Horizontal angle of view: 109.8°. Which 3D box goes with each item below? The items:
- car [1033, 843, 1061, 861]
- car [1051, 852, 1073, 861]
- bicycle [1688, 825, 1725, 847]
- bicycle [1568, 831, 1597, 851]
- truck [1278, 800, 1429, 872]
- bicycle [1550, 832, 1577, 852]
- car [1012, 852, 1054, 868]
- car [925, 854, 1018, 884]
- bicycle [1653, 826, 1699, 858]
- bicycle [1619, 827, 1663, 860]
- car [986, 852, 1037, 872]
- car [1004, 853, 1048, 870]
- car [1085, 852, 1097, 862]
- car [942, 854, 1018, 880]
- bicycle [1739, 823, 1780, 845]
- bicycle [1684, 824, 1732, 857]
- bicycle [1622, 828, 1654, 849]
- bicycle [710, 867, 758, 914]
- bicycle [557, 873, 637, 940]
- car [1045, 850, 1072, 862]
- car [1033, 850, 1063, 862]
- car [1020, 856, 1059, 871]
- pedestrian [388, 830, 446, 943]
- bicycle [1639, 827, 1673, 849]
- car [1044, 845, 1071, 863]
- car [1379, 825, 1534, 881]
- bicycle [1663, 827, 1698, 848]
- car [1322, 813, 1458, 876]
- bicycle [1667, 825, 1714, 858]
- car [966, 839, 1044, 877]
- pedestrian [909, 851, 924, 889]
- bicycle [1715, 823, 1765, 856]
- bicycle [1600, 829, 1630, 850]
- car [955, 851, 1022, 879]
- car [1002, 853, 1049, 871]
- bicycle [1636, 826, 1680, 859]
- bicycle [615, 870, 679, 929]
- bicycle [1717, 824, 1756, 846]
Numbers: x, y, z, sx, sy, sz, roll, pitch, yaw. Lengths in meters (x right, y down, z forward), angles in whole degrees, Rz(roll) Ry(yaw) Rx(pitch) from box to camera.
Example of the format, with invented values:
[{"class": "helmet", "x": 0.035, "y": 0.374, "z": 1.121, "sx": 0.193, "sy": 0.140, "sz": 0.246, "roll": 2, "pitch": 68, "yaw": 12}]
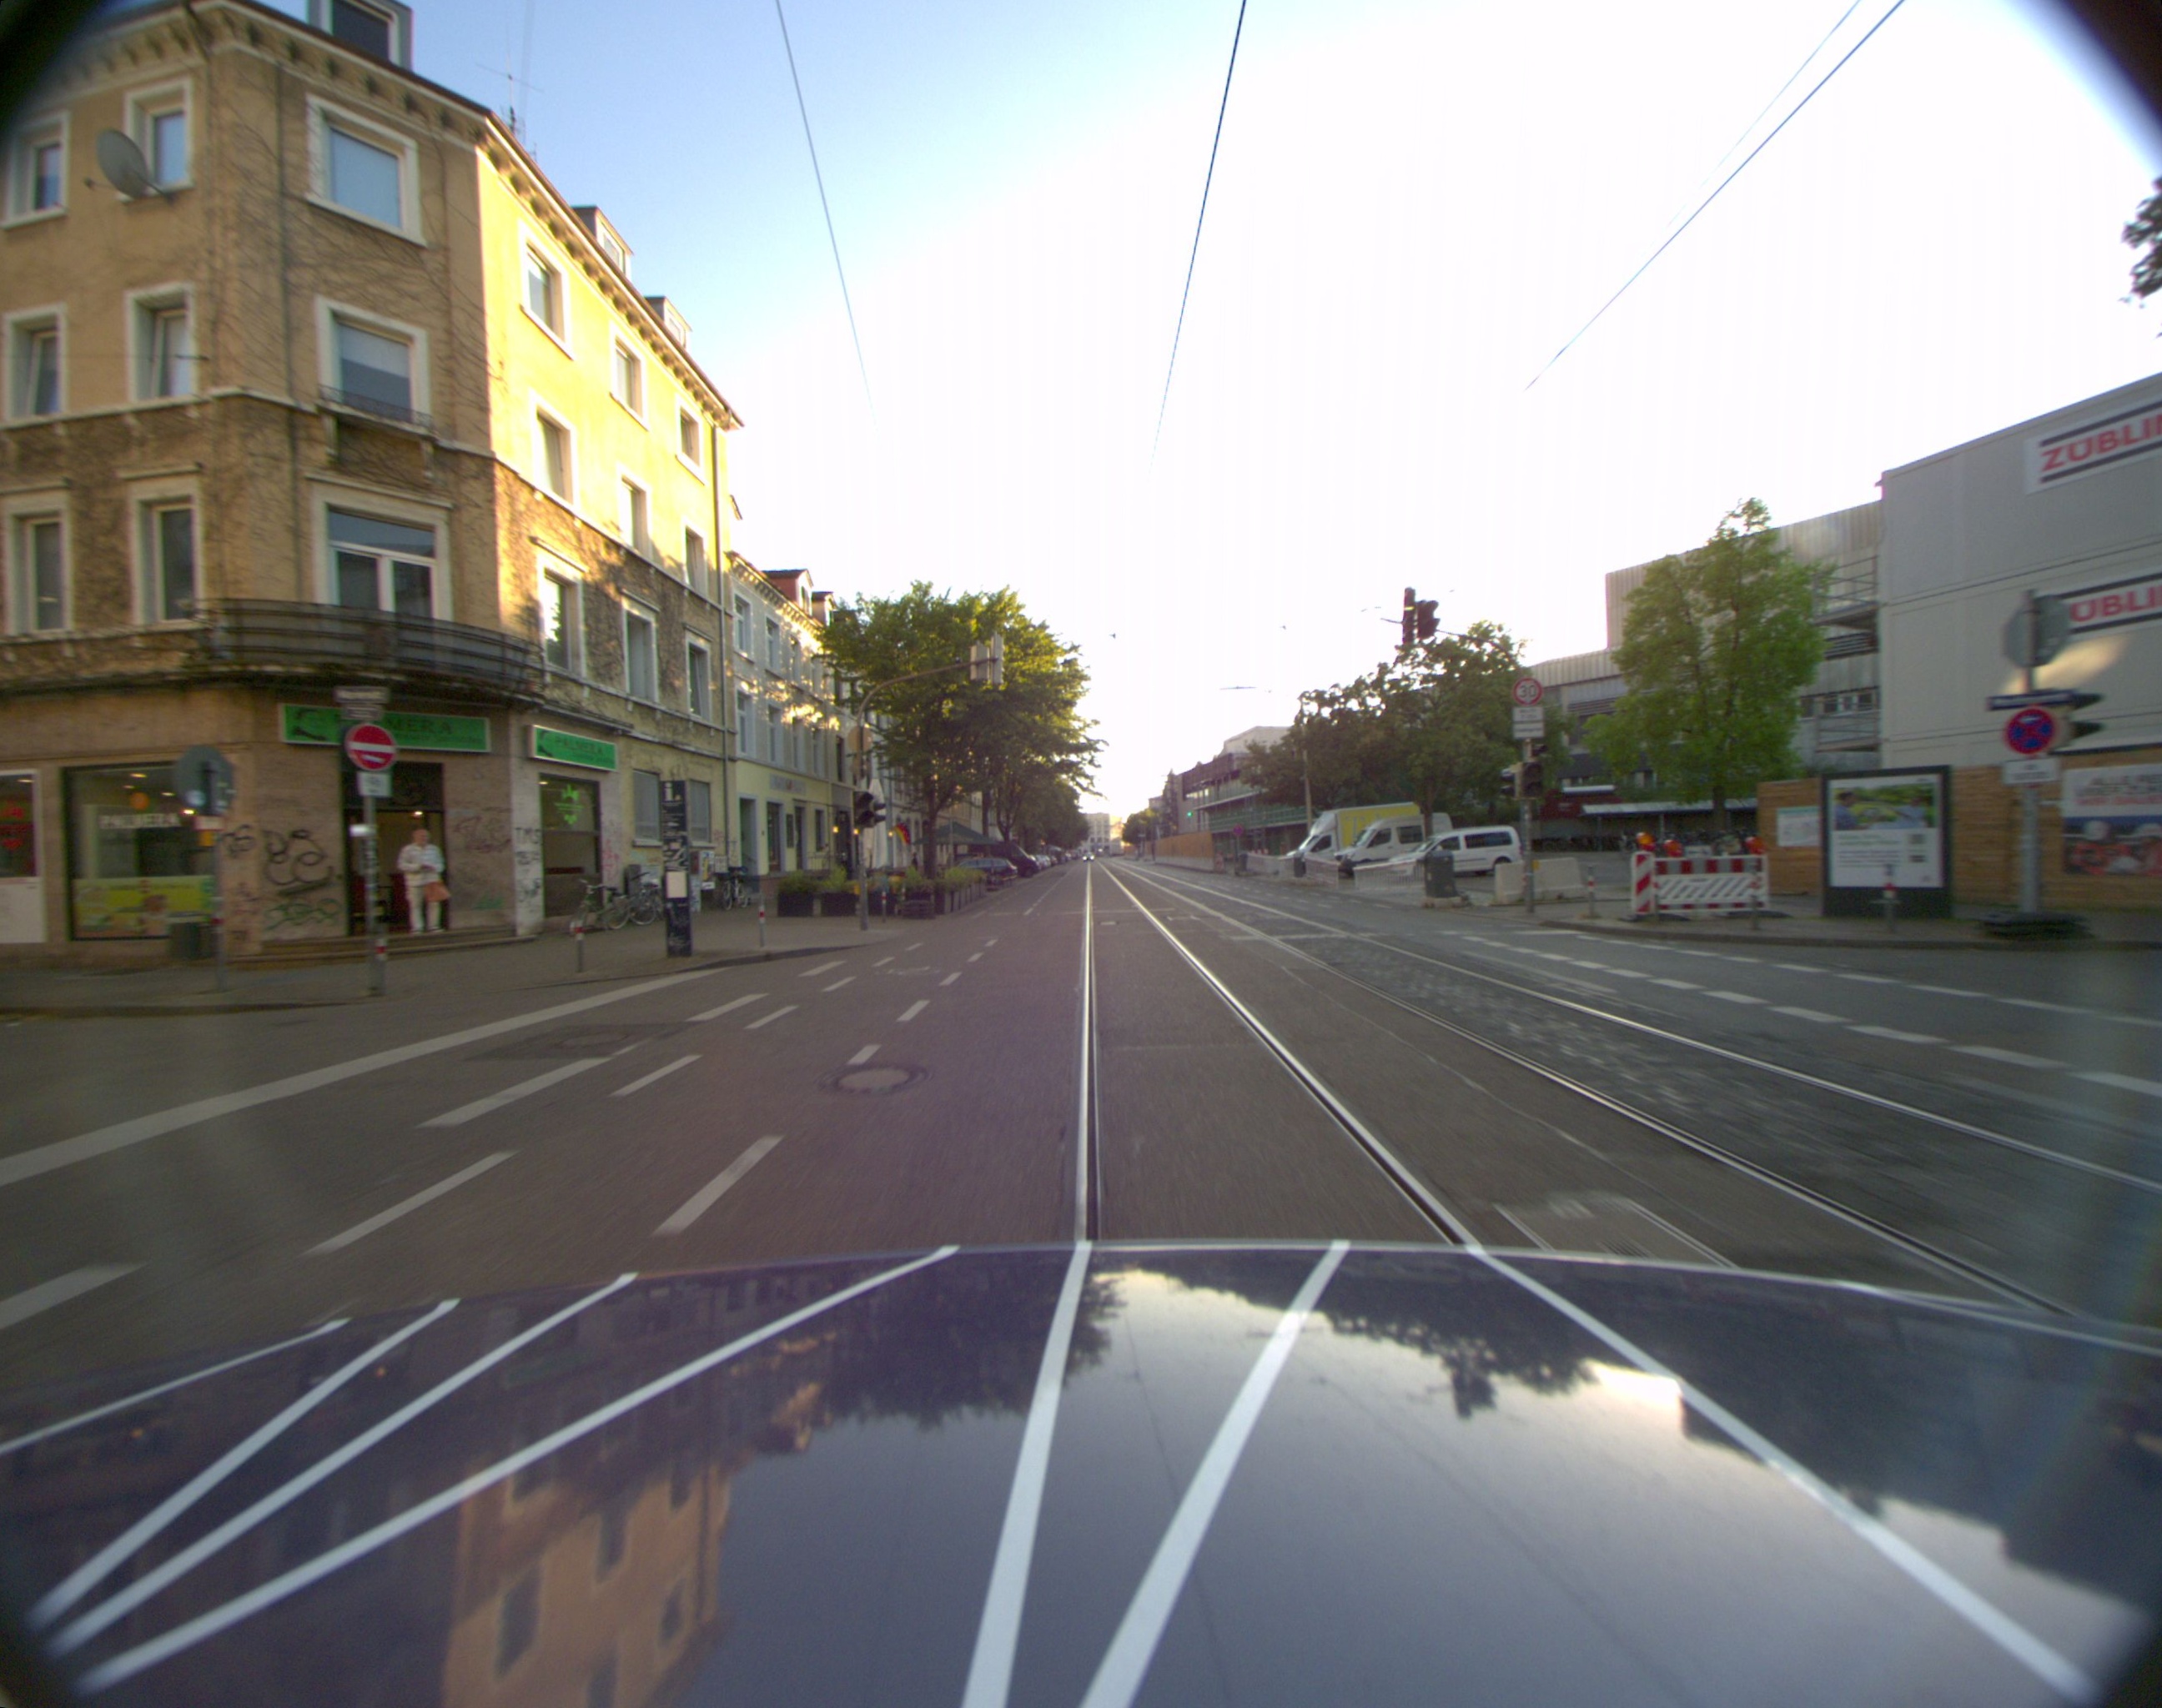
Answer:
[{"class": "car", "x": -5.090, "y": -0.280, "z": 114.518, "sx": 3.991, "sy": 2.551, "sz": 1.722, "roll": 0, "pitch": 0, "yaw": 1}, {"class": "car", "x": -3.503, "y": 0.536, "z": 143.190, "sx": 3.991, "sy": 1.681, "sz": 1.722, "roll": 0, "pitch": 0, "yaw": 1}, {"class": "bicycle", "x": 35.694, "y": -1.006, "z": 43.417, "sx": 0.811, "sy": 1.175, "sz": 2.267, "roll": -2, "pitch": 0, "yaw": 17}, {"class": "bicycle", "x": 30.292, "y": -0.773, "z": 45.908, "sx": 0.811, "sy": 1.175, "sz": 2.267, "roll": -2, "pitch": 0, "yaw": 17}, {"class": "truck", "x": 14.466, "y": -0.941, "z": 40.639, "sx": 7.077, "sy": 3.408, "sz": 2.565, "roll": -3, "pitch": 0, "yaw": -2}, {"class": "bicycle", "x": 29.471, "y": -0.729, "z": 46.441, "sx": 0.811, "sy": 1.175, "sz": 2.267, "roll": -2, "pitch": 0, "yaw": 17}, {"class": "car", "x": -4.795, "y": 0.586, "z": 75.905, "sx": 3.997, "sy": 1.566, "sz": 1.720, "roll": 0, "pitch": -1, "yaw": -14}, {"class": "car", "x": -5.929, "y": 0.794, "z": 41.056, "sx": 4.643, "sy": 1.508, "sz": 1.807, "roll": 0, "pitch": -1, "yaw": -26}, {"class": "bicycle", "x": 25.795, "y": -0.509, "z": 32.991, "sx": 0.542, "sy": 1.361, "sz": 1.978, "roll": -2, "pitch": 0, "yaw": 5}, {"class": "bicycle", "x": 24.398, "y": -0.451, "z": 33.139, "sx": 0.542, "sy": 1.361, "sz": 1.978, "roll": -2, "pitch": 0, "yaw": 5}, {"class": "car", "x": -5.739, "y": 0.633, "z": 63.023, "sx": 3.991, "sy": 1.589, "sz": 1.722, "roll": -1, "pitch": 0, "yaw": 2}, {"class": "car", "x": -5.242, "y": 0.714, "z": 72.218, "sx": 3.996, "sy": 1.566, "sz": 1.720, "roll": 0, "pitch": -1, "yaw": -11}, {"class": "car", "x": 1.815, "y": 0.540, "z": 136.598, "sx": 1.998, "sy": 1.674, "sz": 4.000, "roll": -3, "pitch": 0, "yaw": 1}, {"class": "car", "x": -5.841, "y": 0.743, "z": 43.819, "sx": 4.121, "sy": 1.444, "sz": 1.808, "roll": 0, "pitch": -1, "yaw": -15}, {"class": "bicycle", "x": 37.897, "y": -1.094, "z": 42.463, "sx": 0.811, "sy": 1.175, "sz": 2.267, "roll": -2, "pitch": 0, "yaw": 17}, {"class": "bicycle", "x": 27.087, "y": -0.569, "z": 32.865, "sx": 0.542, "sy": 1.361, "sz": 1.978, "roll": -2, "pitch": 0, "yaw": 5}, {"class": "bicycle", "x": 32.851, "y": -0.898, "z": 44.823, "sx": 0.811, "sy": 1.175, "sz": 2.267, "roll": -2, "pitch": 0, "yaw": 17}, {"class": "bicycle", "x": -9.777, "y": 1.004, "z": 21.458, "sx": 0.471, "sy": 1.203, "sz": 1.783, "roll": -2, "pitch": 0, "yaw": 1}, {"class": "bicycle", "x": -9.611, "y": 1.007, "z": 15.152, "sx": 0.525, "sy": 1.203, "sz": 1.586, "roll": -2, "pitch": 0, "yaw": 1}, {"class": "car", "x": -3.521, "y": 0.316, "z": 117.877, "sx": 3.997, "sy": 1.952, "sz": 1.720, "roll": 0, "pitch": 0, "yaw": -14}, {"class": "car", "x": -4.732, "y": 0.279, "z": 108.328, "sx": 3.997, "sy": 1.759, "sz": 1.720, "roll": 0, "pitch": 0, "yaw": -14}, {"class": "car", "x": -4.561, "y": 1.004, "z": 82.705, "sx": 3.997, "sy": 1.566, "sz": 1.720, "roll": 0, "pitch": -1, "yaw": -14}, {"class": "pedestrian", "x": -11.082, "y": 0.537, "z": 12.679, "sx": 0.559, "sy": 1.821, "sz": 0.613, "roll": -1, "pitch": -2, "yaw": 38}, {"class": "bicycle", "x": 33.721, "y": -0.931, "z": 44.587, "sx": 0.811, "sy": 1.175, "sz": 2.267, "roll": -2, "pitch": 0, "yaw": 17}, {"class": "car", "x": -3.795, "y": -0.019, "z": 120.565, "sx": 3.997, "sy": 2.811, "sz": 1.720, "roll": 0, "pitch": 0, "yaw": -14}, {"class": "car", "x": 14.220, "y": -0.043, "z": 29.013, "sx": 4.844, "sy": 1.862, "sz": 2.015, "roll": -3, "pitch": 0, "yaw": 2}, {"class": "bicycle", "x": 34.711, "y": -0.951, "z": 44.018, "sx": 0.811, "sy": 1.175, "sz": 2.267, "roll": -2, "pitch": 0, "yaw": 17}, {"class": "car", "x": 14.041, "y": -0.419, "z": 34.740, "sx": 5.233, "sy": 2.582, "sz": 2.229, "roll": -3, "pitch": 0, "yaw": -3}, {"class": "bicycle", "x": 26.404, "y": -0.534, "z": 32.946, "sx": 0.542, "sy": 1.361, "sz": 1.978, "roll": -2, "pitch": 0, "yaw": 5}, {"class": "car", "x": -5.406, "y": 0.243, "z": 53.957, "sx": 5.236, "sy": 2.605, "sz": 1.925, "roll": 0, "pitch": 1, "yaw": -16}, {"class": "pedestrian", "x": -7.803, "y": 0.752, "z": 36.009, "sx": 0.498, "sy": 1.742, "sz": 0.646, "roll": 0, "pitch": 1, "yaw": 5}, {"class": "bicycle", "x": 28.458, "y": -0.620, "z": 32.847, "sx": 0.542, "sy": 1.361, "sz": 1.978, "roll": -2, "pitch": 0, "yaw": 5}, {"class": "bicycle", "x": 31.810, "y": -0.851, "z": 45.303, "sx": 0.811, "sy": 1.175, "sz": 2.267, "roll": -2, "pitch": 0, "yaw": 17}, {"class": "car", "x": -5.735, "y": 0.709, "z": 47.596, "sx": 3.992, "sy": 1.689, "sz": 1.722, "roll": 0, "pitch": 0, "yaw": -1}, {"class": "car", "x": -4.864, "y": 0.726, "z": 66.871, "sx": 3.991, "sy": 1.566, "sz": 1.722, "roll": -1, "pitch": 0, "yaw": 2}, {"class": "bicycle", "x": 25.133, "y": -0.482, "z": 33.129, "sx": 0.542, "sy": 1.361, "sz": 1.978, "roll": -2, "pitch": 0, "yaw": 5}, {"class": "bicycle", "x": -9.752, "y": 0.995, "z": 17.139, "sx": 0.471, "sy": 1.203, "sz": 1.586, "roll": -2, "pitch": 0, "yaw": 1}, {"class": "bicycle", "x": 37.154, "y": -1.052, "z": 43.119, "sx": 0.811, "sy": 1.175, "sz": 2.267, "roll": -2, "pitch": 0, "yaw": 17}]
